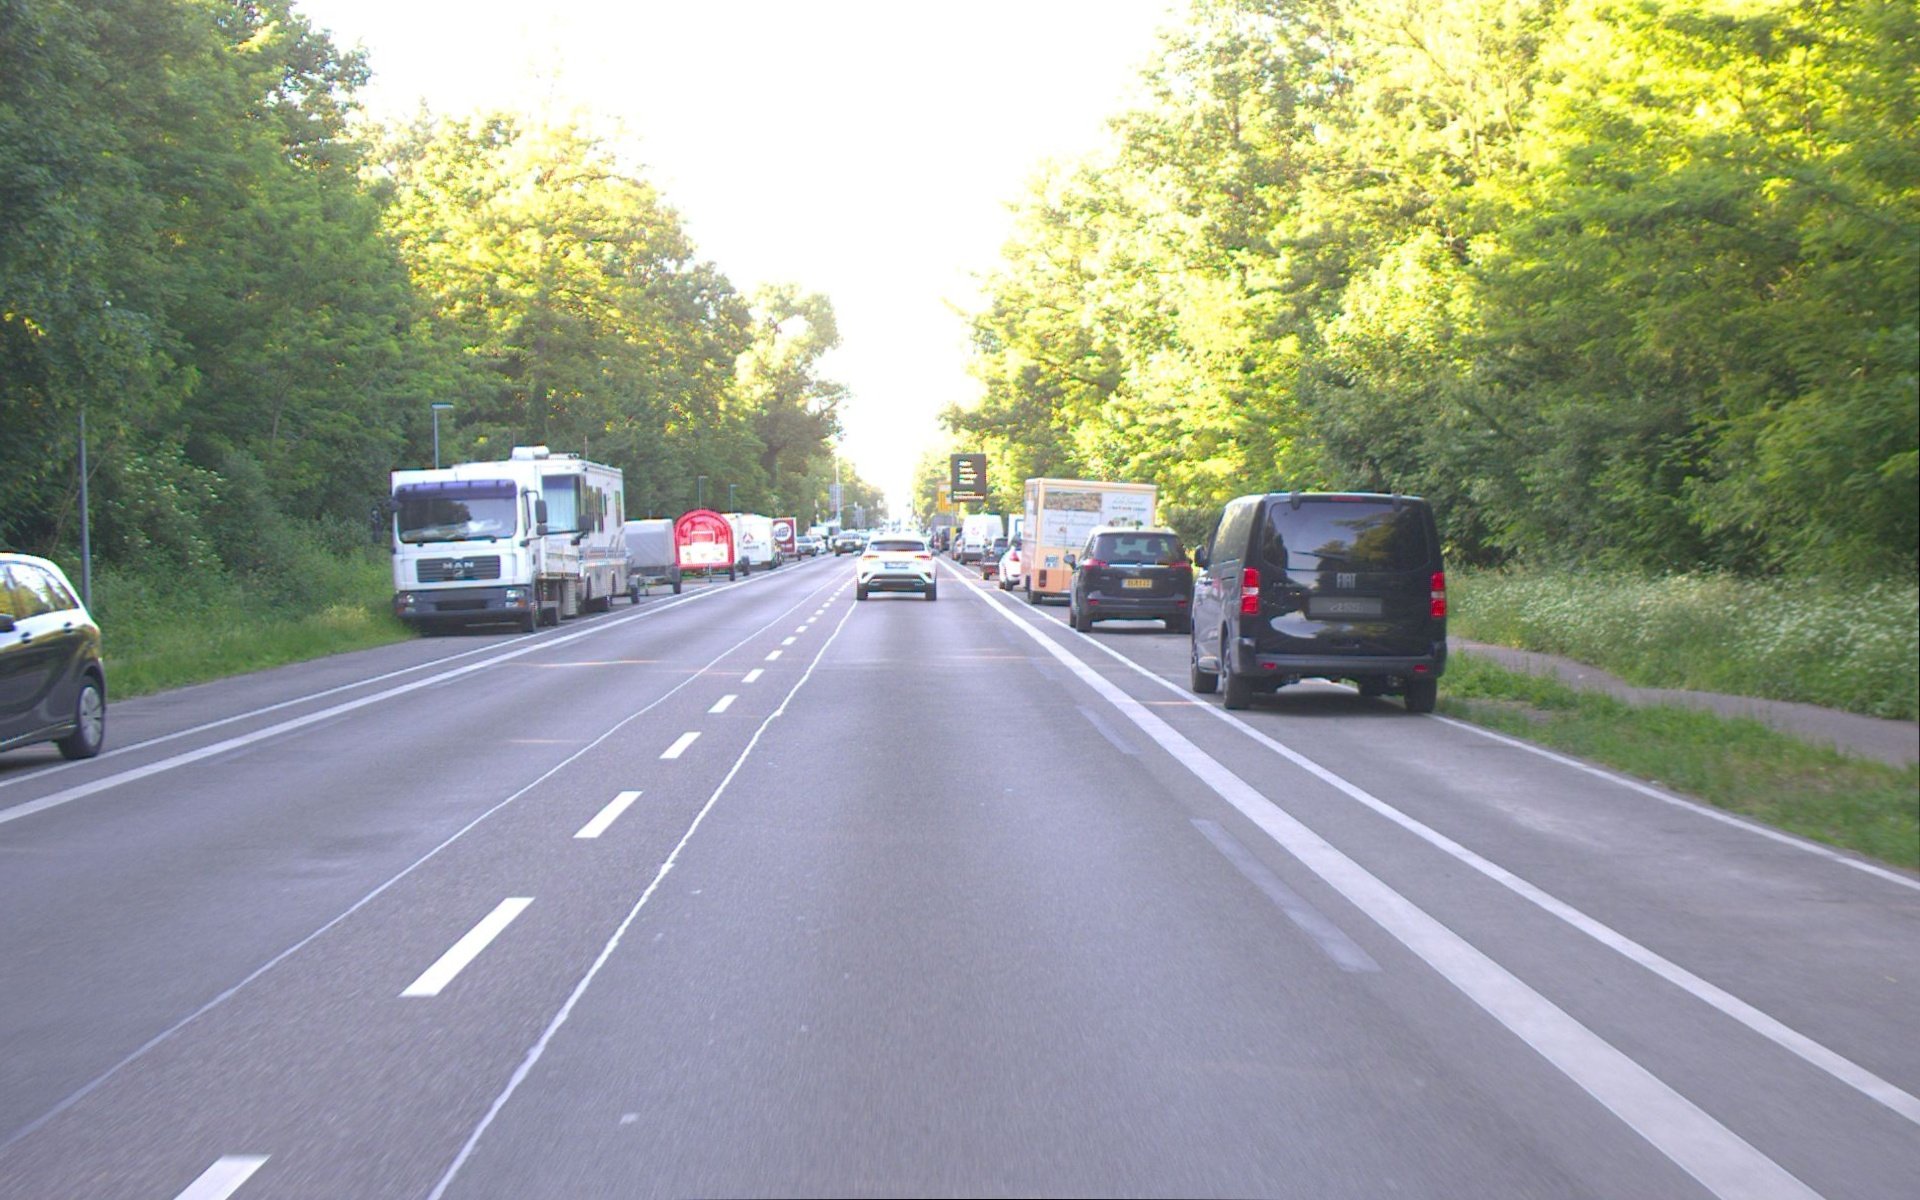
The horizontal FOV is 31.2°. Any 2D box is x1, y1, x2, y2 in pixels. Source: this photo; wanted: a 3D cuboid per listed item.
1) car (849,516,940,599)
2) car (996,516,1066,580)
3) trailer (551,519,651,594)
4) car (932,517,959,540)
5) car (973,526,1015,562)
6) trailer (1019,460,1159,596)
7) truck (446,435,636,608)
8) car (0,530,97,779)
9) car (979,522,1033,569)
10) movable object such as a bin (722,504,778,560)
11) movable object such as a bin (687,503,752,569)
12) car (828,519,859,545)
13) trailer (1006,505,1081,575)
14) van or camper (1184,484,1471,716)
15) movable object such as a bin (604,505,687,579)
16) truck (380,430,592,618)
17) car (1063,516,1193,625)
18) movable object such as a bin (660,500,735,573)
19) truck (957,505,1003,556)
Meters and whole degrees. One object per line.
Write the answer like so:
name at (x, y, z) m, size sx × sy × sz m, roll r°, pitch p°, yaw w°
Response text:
car at (-1.482, -0.995, 78.840) m, size 2.028 × 1.834 × 4.029 m, roll -1°, pitch 2°, yaw 0°
car at (1.887, -1.417, 92.374) m, size 1.732 × 1.678 × 4.000 m, roll 0°, pitch 1°, yaw -1°
trailer at (-8.518, -1.057, 81.858) m, size 1.993 × 1.744 × 4.328 m, roll 0°, pitch 1°, yaw -1°
car at (-0.939, -4.563, 220.078) m, size 1.656 × 1.473 × 3.754 m, roll 0°, pitch 1°, yaw -1°
car at (1.425, -2.336, 143.395) m, size 1.656 × 1.473 × 3.754 m, roll 0°, pitch 1°, yaw -1°
trailer at (2.802, -1.605, 76.369) m, size 2.757 × 2.860 × 6.589 m, roll 0°, pitch 1°, yaw -1°
truck at (-8.583, -1.636, 71.656) m, size 2.707 × 3.336 × 10.924 m, roll 0°, pitch 1°, yaw -1°
car at (-7.389, 0.388, 23.654) m, size 1.781 × 1.678 × 4.378 m, roll -2°, pitch 1°, yaw 0°
car at (1.483, -1.794, 112.274) m, size 1.656 × 1.473 × 3.754 m, roll 0°, pitch 1°, yaw -1°
movable object such as a bin at (-9.537, -3.118, 156.403) m, size 2.322 × 2.493 × 4.000 m, roll 0°, pitch 1°, yaw -1°
movable object such as a bin at (-9.352, -2.504, 133.976) m, size 2.322 × 2.493 × 4.000 m, roll 0°, pitch 1°, yaw -1°
car at (-7.916, -4.642, 233.997) m, size 1.993 × 1.672 × 4.000 m, roll -2°, pitch 1°, yaw -1°
trailer at (2.374, -1.732, 99.055) m, size 1.993 × 1.963 × 4.000 m, roll 0°, pitch 1°, yaw -1°
van or camper at (3.273, -0.060, 31.614) m, size 1.993 × 1.925 × 5.199 m, roll 1°, pitch 1°, yaw -1°
movable object such as a bin at (-8.694, -1.613, 95.273) m, size 1.953 × 2.007 × 4.000 m, roll 0°, pitch 1°, yaw -1°
truck at (-8.219, -1.339, 60.498) m, size 2.707 × 3.083 × 7.990 m, roll 0°, pitch 1°, yaw -1°
car at (2.612, -0.494, 54.243) m, size 1.841 × 1.656 × 4.000 m, roll 0°, pitch 1°, yaw 0°
movable object such as a bin at (-9.099, -2.221, 119.468) m, size 2.322 × 2.493 × 4.000 m, roll 0°, pitch 1°, yaw -1°
truck at (0.969, -3.382, 167.152) m, size 2.096 × 2.444 × 5.680 m, roll 0°, pitch 1°, yaw -1°
